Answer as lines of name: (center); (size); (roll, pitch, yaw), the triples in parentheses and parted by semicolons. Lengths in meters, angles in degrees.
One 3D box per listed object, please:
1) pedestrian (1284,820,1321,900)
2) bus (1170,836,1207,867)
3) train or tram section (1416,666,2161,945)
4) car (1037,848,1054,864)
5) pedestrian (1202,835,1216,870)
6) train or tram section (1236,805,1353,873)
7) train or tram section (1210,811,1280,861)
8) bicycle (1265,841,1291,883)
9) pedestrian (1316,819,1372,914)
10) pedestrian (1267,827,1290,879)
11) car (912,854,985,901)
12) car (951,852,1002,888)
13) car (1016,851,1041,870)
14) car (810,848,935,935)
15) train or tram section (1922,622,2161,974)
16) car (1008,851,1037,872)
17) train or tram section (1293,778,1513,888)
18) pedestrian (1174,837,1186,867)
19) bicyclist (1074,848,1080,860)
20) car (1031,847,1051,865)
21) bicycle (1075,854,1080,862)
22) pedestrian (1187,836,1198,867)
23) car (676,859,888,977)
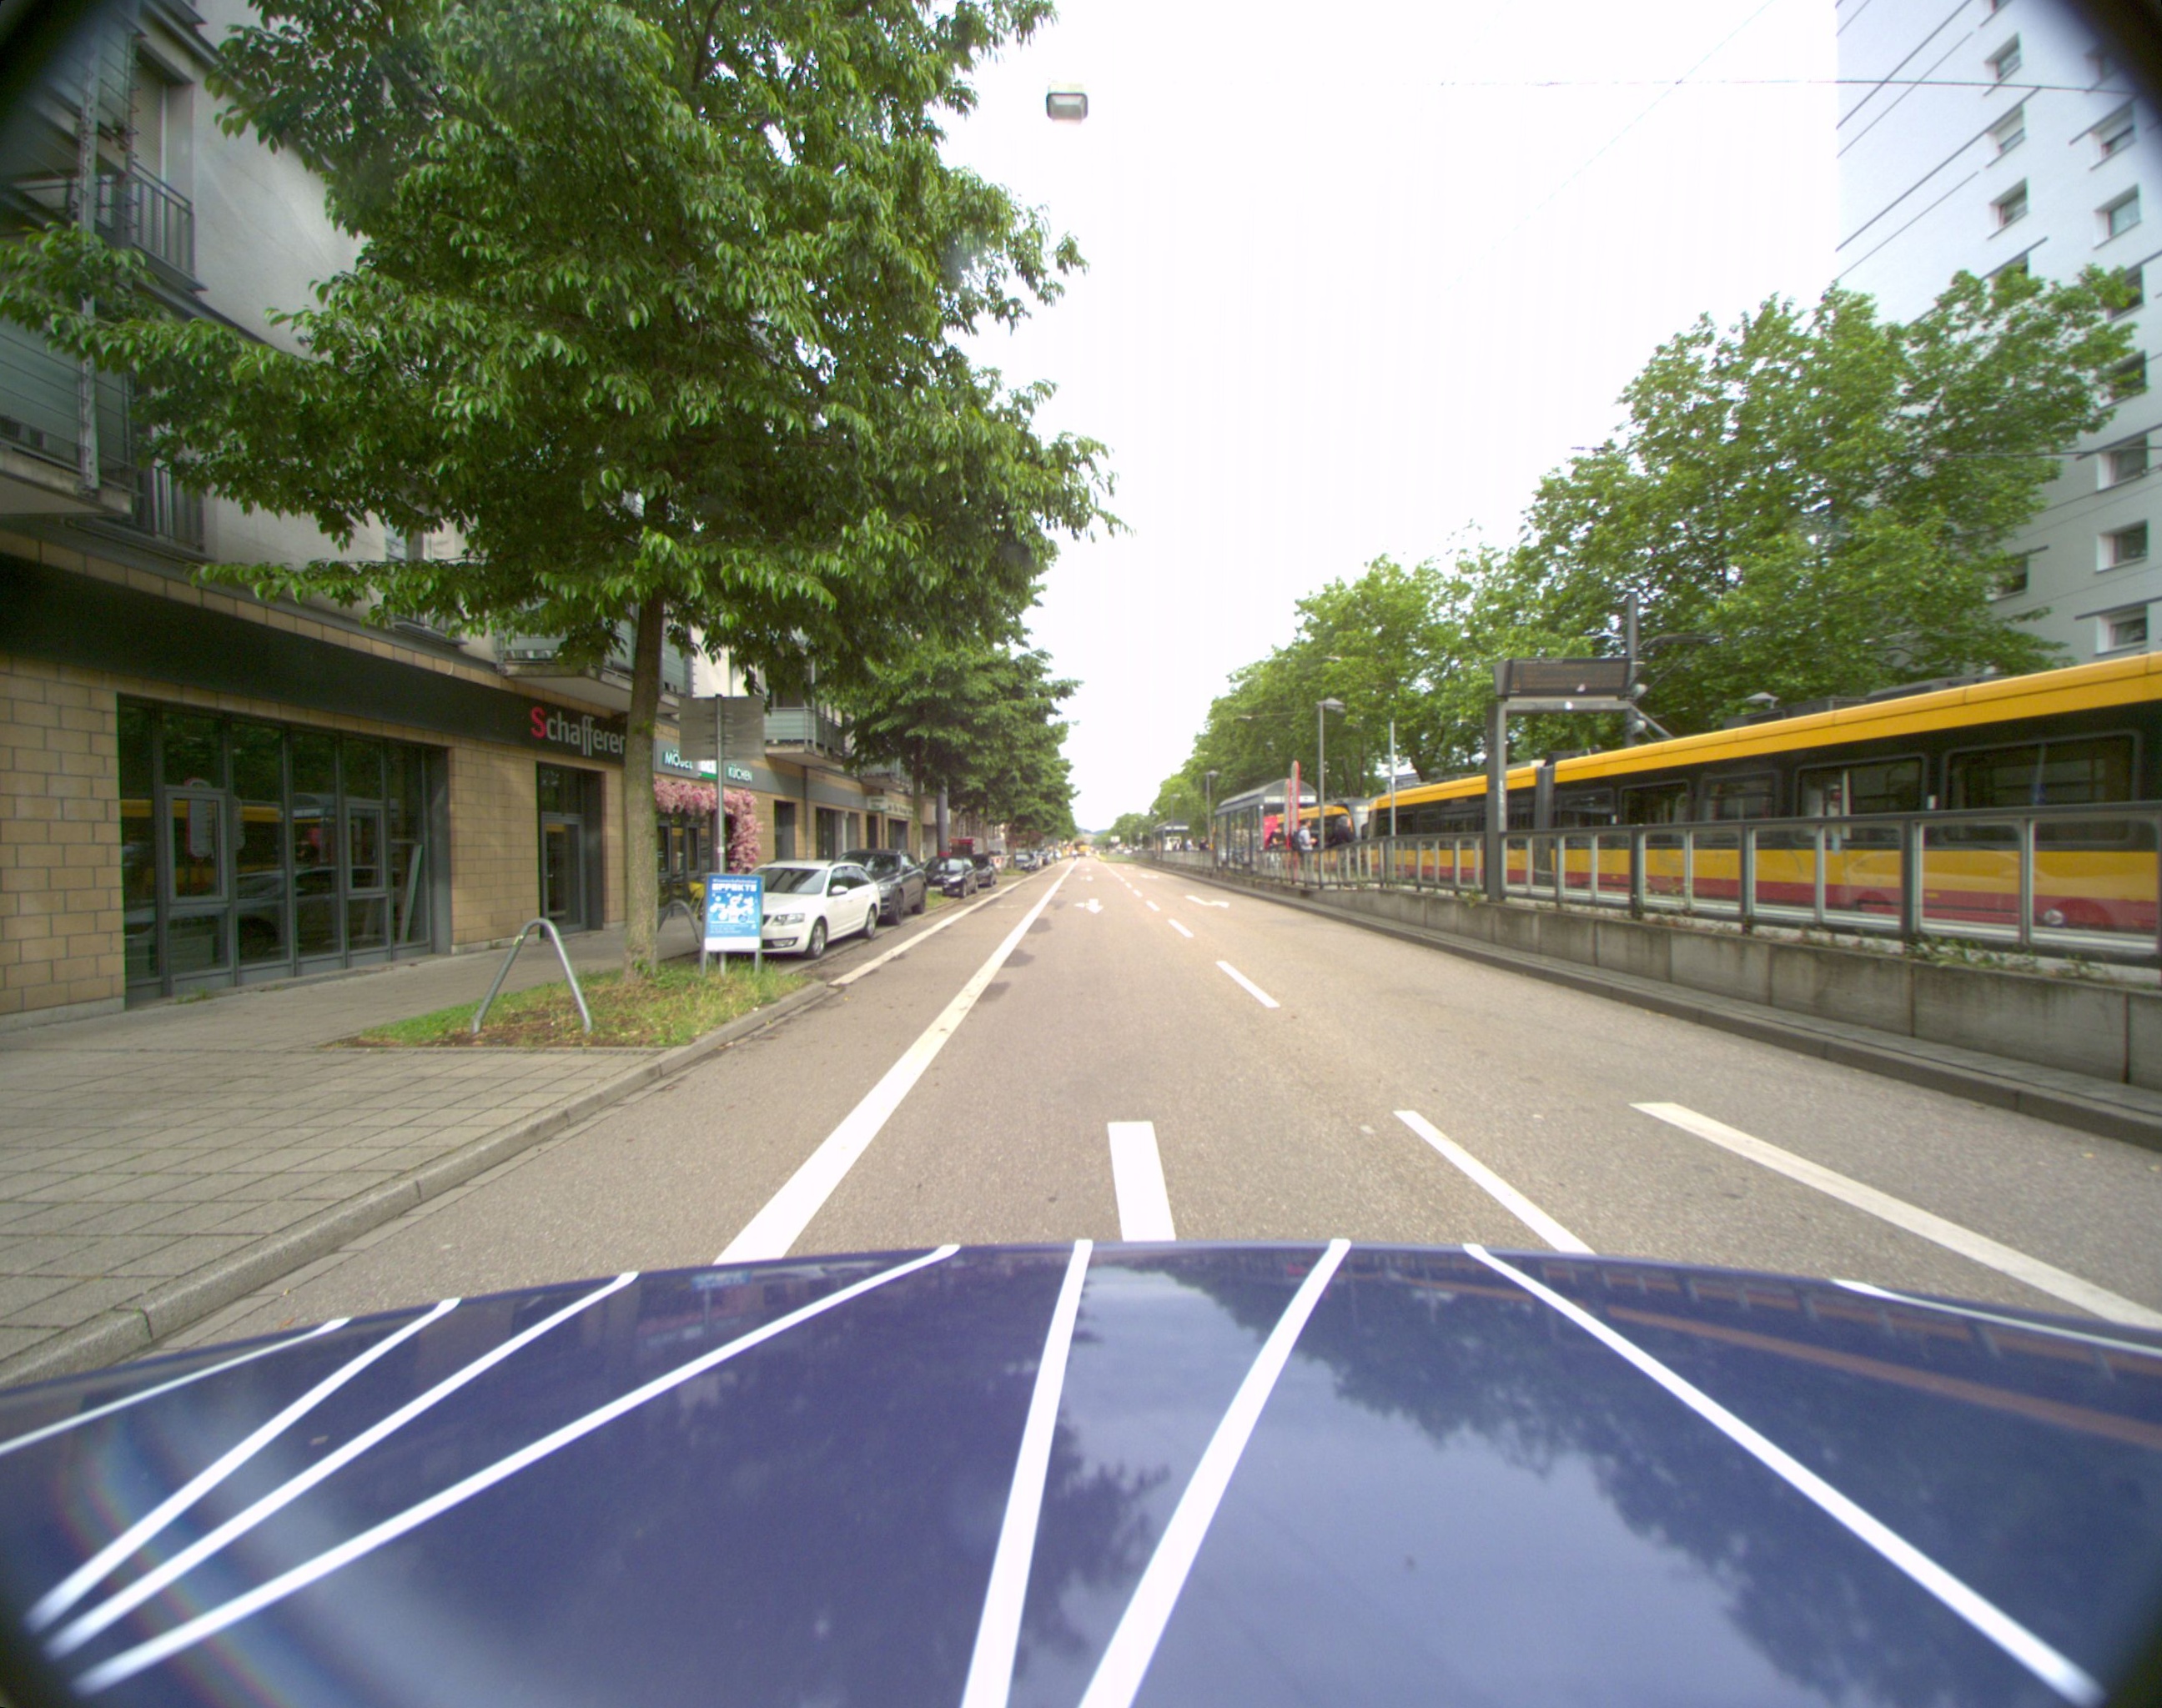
pedestrian: (5.688, 0.152, 19.475); (0.753, 2.002, 0.819); (-2, 1, 24)
bus: (7.508, -0.213, 53.194); (1.998, 2.002, 3.999); (-2, 1, 1)
train or tram section: (12.622, -0.739, 17.545); (3.067, 3.511, 15.292); (-2, 1, 1)
car: (-4.089, 0.206, 87.862); (1.837, 1.686, 3.761); (1, 1, 0)
pedestrian: (6.098, -0.061, 36.329); (0.513, 1.623, 0.730); (-2, 1, 2)
train or tram section: (13.004, -0.906, 48.380); (3.067, 3.511, 15.769); (-2, 1, 1)
train or tram section: (13.204, -1.410, 62.529); (3.100, 3.541, 12.537); (-2, 1, 1)
bicycle: (5.930, 0.215, 22.965); (0.420, 1.215, 1.289); (-2, 1, 0)
pedestrian: (5.749, 0.261, 16.611); (0.756, 2.002, 0.816); (-3, 2, -36)
pedestrian: (6.223, -0.035, 23.964); (0.532, 1.623, 0.471); (-2, 1, -2)
car: (-4.620, 0.767, 27.120); (1.680, 1.433, 4.407); (2, 1, 2)
car: (-4.706, 0.665, 34.900); (1.802, 1.447, 4.387); (2, 1, -1)
car: (-4.284, 0.499, 62.429); (1.755, 1.452, 4.279); (1, 1, 0)
car: (-4.752, 0.761, 18.022); (1.716, 1.707, 4.710); (2, 1, -1)
train or tram section: (12.438, -0.535, 1.983); (3.067, 3.568, 15.846); (-2, 1, 1)
car: (-4.294, 0.517, 56.265); (1.755, 1.452, 4.279); (1, 1, 0)
train or tram section: (12.822, -0.807, 32.856); (3.067, 3.511, 15.292); (-2, 1, 1)
pedestrian: (6.717, -0.164, 51.682); (0.676, 2.002, 0.588); (-2, 1, -2)
bicyclist: (-0.551, -0.016, 110.830); (0.751, 1.777, 0.838); (-2, 1, 1)
car: (-4.091, 0.212, 78.570); (1.837, 1.720, 4.279); (1, 1, 0)
bicycle: (-0.563, 0.608, 110.826); (0.613, 1.116, 2.050); (-2, 1, 1)
pedestrian: (6.042, -0.141, 41.053); (0.480, 1.623, 0.392); (-2, 1, 2)
car: (-4.716, 0.905, 12.752); (1.680, 1.490, 4.389); (2, 1, 2)
